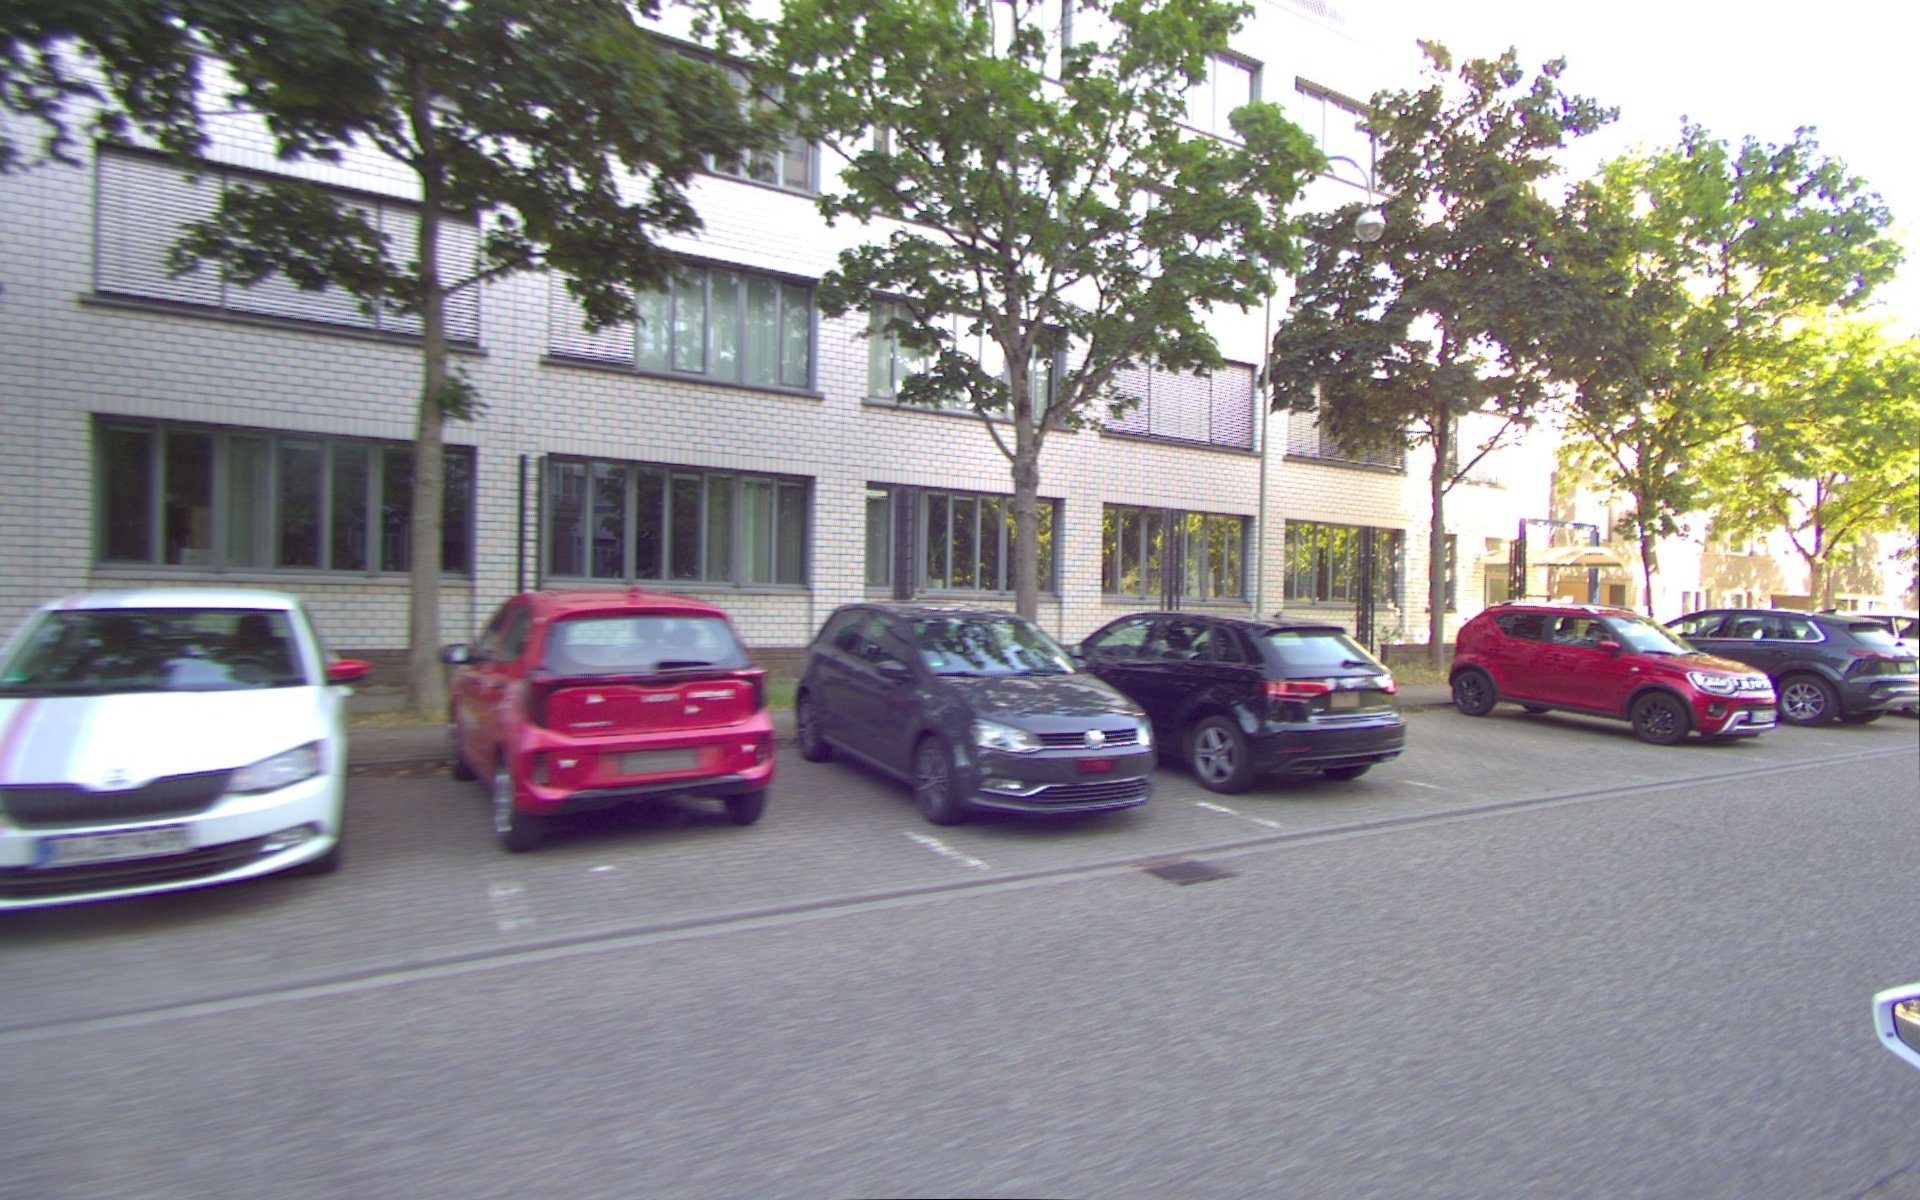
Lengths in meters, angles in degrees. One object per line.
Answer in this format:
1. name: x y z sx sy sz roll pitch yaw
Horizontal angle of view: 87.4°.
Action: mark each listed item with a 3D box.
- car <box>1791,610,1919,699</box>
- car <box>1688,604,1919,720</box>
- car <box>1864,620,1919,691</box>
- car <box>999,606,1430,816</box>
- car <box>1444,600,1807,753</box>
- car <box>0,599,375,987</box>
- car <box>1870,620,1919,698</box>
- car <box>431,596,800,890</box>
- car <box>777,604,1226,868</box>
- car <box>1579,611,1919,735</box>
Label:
1. car: 18.908 1.042 19.437 1.836 1.676 3.973 0 -1 -27
2. car: 14.736 0.957 16.673 1.689 1.742 3.967 1 0 -30
3. car: 21.552 1.204 20.764 1.661 1.500 3.967 2 -1 -31
4. car: 2.132 0.842 9.499 1.587 1.425 3.966 1 1 -31
5. car: 8.425 0.867 13.028 1.739 1.679 3.527 2 -1 -27
6. car: -4.516 0.780 5.916 1.735 1.476 3.845 -1 2 -32
7. car: 21.577 1.253 20.658 1.836 1.633 3.874 1 0 -30
8. car: -2.633 0.750 7.177 1.679 1.483 3.397 0 2 -34
9. car: 0.037 0.812 7.948 1.646 1.431 3.966 1 1 -31
10. car: 11.899 1.006 15.233 1.742 1.607 3.974 2 -2 -26
